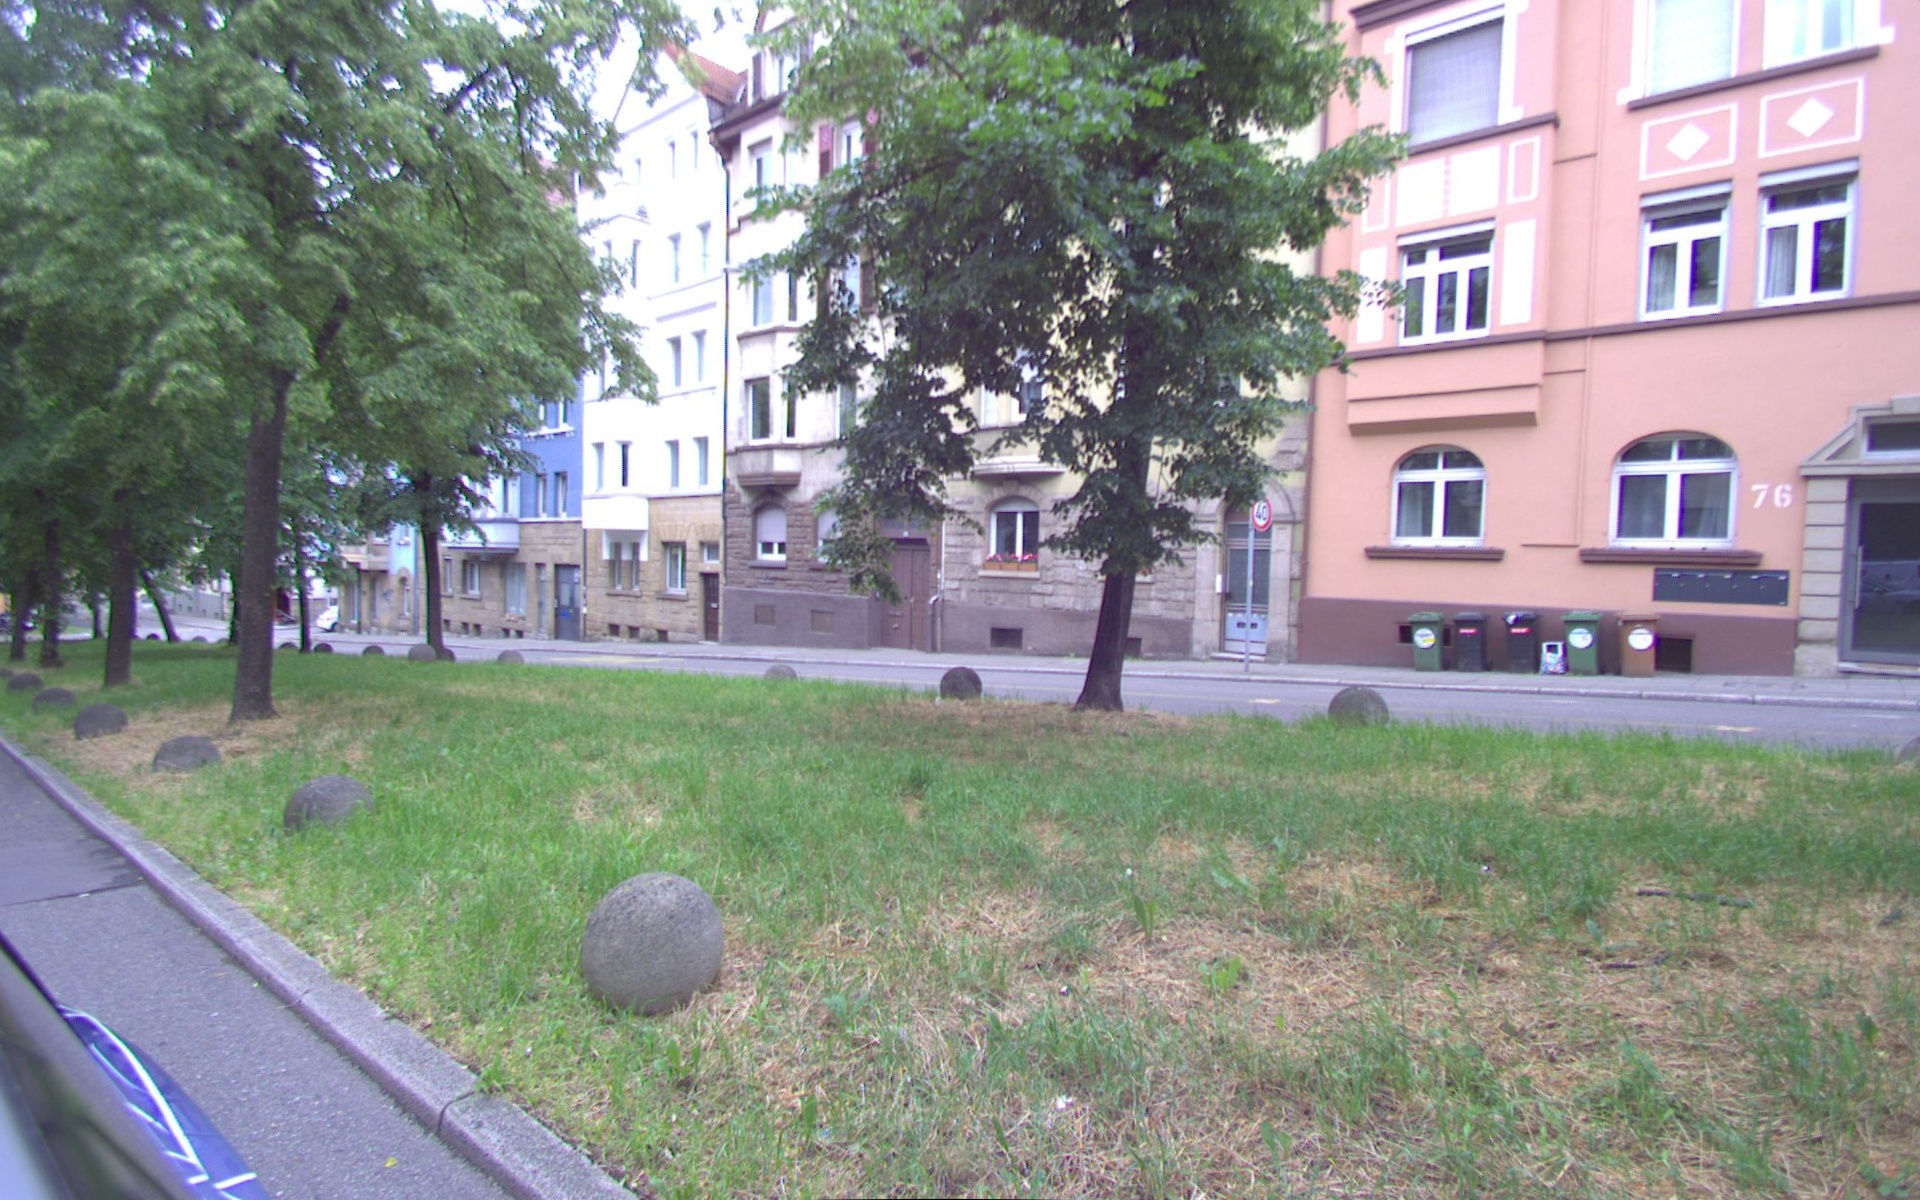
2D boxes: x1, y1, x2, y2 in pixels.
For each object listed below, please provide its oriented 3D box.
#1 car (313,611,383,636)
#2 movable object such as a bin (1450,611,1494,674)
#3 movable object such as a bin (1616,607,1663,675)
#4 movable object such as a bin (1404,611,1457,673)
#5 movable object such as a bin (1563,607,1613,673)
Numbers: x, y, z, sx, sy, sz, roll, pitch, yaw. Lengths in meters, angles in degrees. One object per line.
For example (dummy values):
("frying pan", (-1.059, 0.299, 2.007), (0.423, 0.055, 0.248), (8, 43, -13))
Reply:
("car", (-35.369, 1.341, 58.482), (3.244, 1.341, 1.674), (-1, 0, -40))
("movable object such as a bin", (7.994, 0.658, 15.807), (0.531, 0.953, 0.575), (-1, 0, 35))
("movable object such as a bin", (9.633, 0.568, 14.340), (0.514, 0.928, 0.750), (-1, 0, 36))
("movable object such as a bin", (7.520, 0.664, 16.179), (0.617, 0.955, 0.610), (-1, 0, 40))
("movable object such as a bin", (9.152, 0.575, 14.750), (0.558, 0.928, 0.648), (-1, 0, 36))
